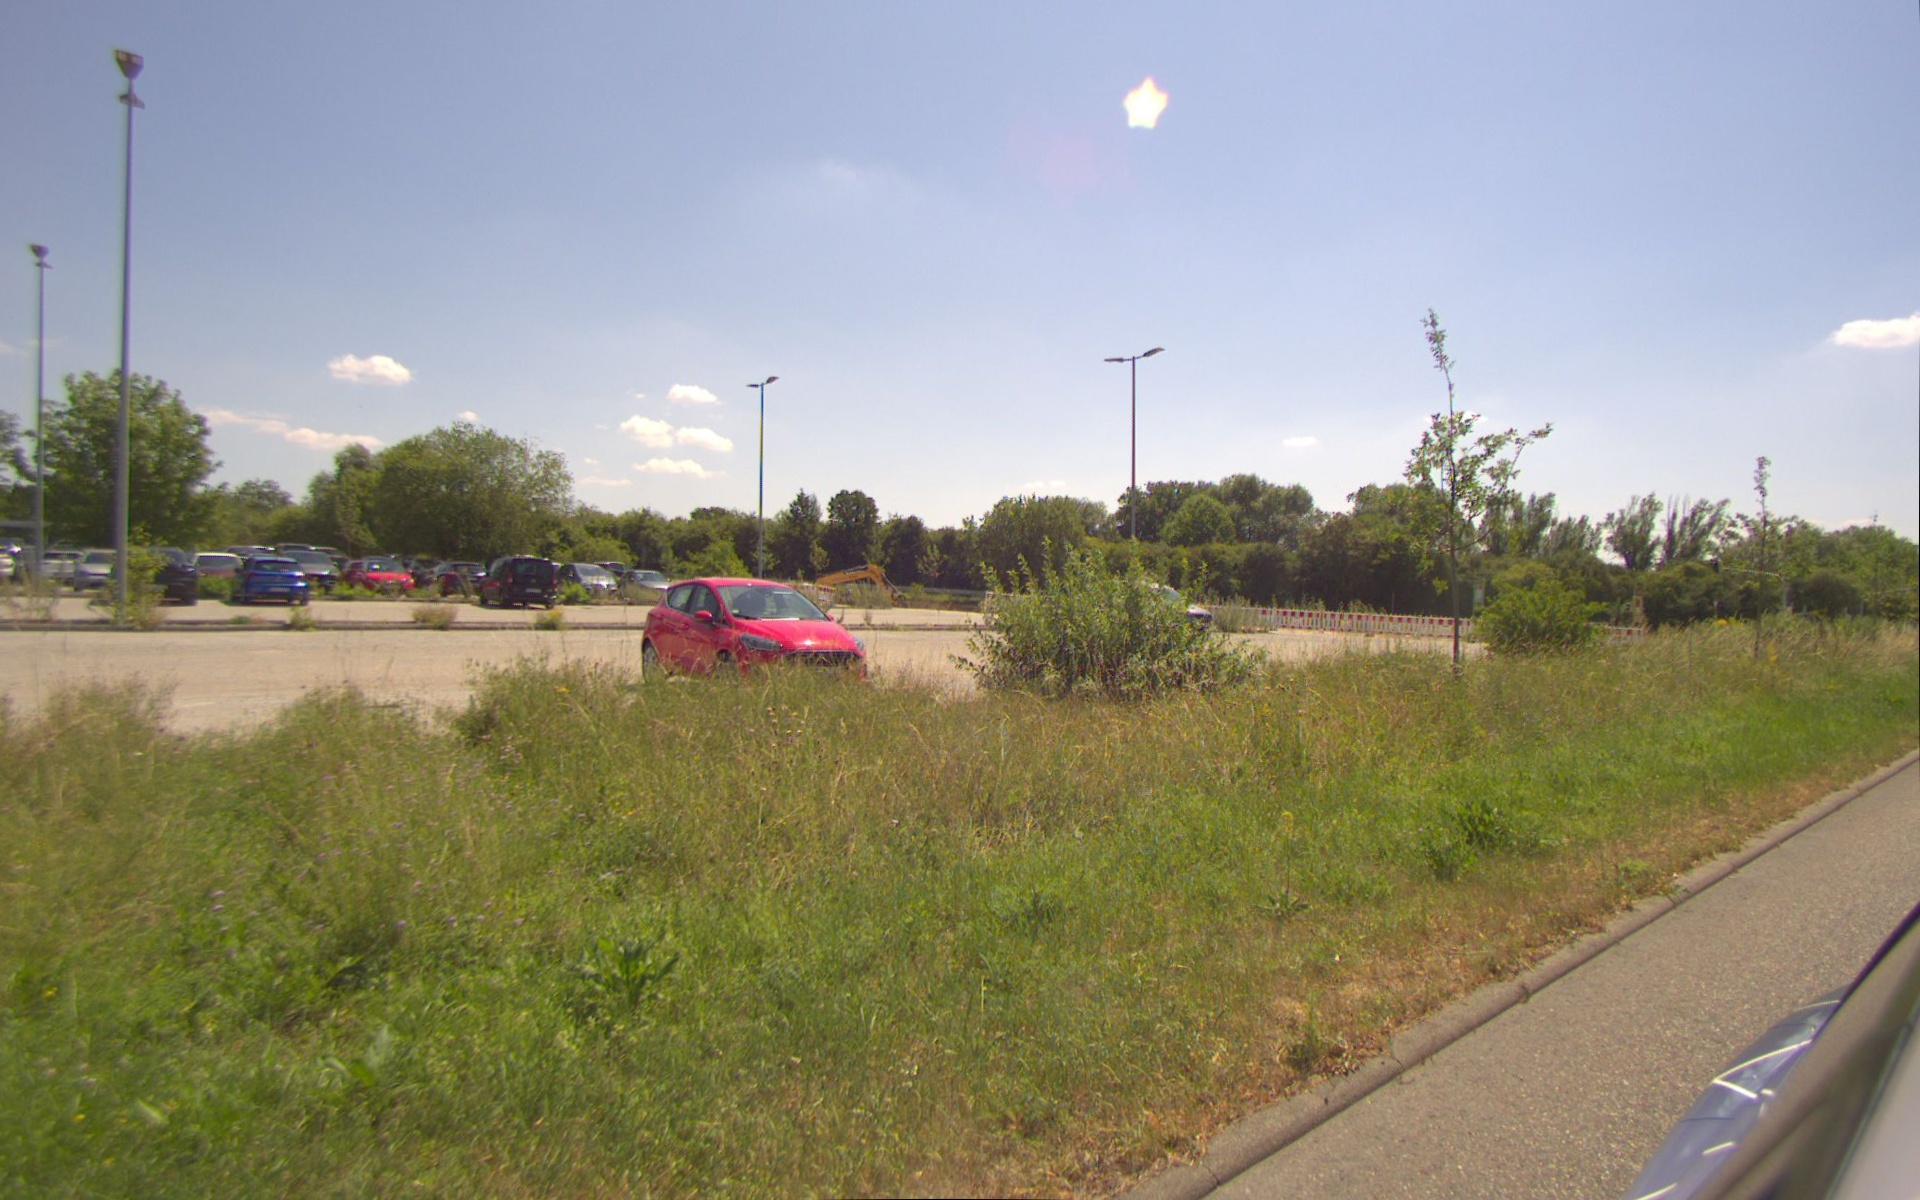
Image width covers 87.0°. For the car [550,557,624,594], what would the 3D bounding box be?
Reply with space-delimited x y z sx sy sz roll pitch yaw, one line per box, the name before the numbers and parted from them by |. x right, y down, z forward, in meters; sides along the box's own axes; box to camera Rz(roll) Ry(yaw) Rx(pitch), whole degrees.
car | -20.503 -1.355 55.519 3.982 1.660 1.971 4 0 39

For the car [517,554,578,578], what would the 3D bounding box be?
car | -28.651 -2.371 70.451 1.851 1.548 3.978 2 1 17

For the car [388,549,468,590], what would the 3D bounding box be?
car | -26.079 -1.500 49.575 3.982 1.660 1.971 4 0 39

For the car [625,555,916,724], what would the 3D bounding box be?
car | -2.519 0.349 12.694 1.892 1.745 3.997 0 2 -39

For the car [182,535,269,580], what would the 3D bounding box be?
car | -31.616 -1.845 43.546 3.982 1.660 1.971 4 0 39

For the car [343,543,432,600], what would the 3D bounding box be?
car | -21.902 -1.120 38.657 1.966 1.905 3.992 5 0 -43

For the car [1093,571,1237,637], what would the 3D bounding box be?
car | 6.816 0.098 34.029 1.905 1.938 4.472 3 1 -41

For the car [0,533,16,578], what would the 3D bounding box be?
car | -38.304 -1.849 39.163 3.982 1.660 1.971 4 0 39

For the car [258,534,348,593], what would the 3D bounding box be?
car | -24.142 -1.369 37.139 1.966 1.905 3.992 5 0 -43

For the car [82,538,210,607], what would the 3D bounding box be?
car | -23.295 -0.803 28.909 3.982 1.660 1.971 4 0 39

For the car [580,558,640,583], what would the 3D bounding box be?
car | -23.492 -1.950 68.039 1.851 1.548 3.978 2 1 17

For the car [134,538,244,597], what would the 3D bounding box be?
car | -25.827 -1.088 33.858 3.982 1.660 1.971 4 0 39

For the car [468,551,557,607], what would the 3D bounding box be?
car | -16.047 -0.787 36.196 1.727 1.779 3.994 2 1 -42

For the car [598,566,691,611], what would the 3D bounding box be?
car | -13.942 -0.508 44.672 3.982 1.660 1.971 4 0 39

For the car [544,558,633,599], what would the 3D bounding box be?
car | -15.950 -0.948 43.361 3.982 1.438 1.696 4 0 39

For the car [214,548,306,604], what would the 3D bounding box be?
car | -21.681 -0.767 31.315 1.704 1.482 3.801 5 0 -43

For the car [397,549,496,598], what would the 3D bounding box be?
car | -20.438 -1.063 40.228 3.982 1.660 1.971 4 0 39

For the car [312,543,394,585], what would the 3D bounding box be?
car | -28.454 -1.704 47.378 3.982 1.660 1.971 4 0 39

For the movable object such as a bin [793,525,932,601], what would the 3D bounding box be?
movable object such as a bin | -6.147 -2.307 64.014 7.993 4.095 2.972 5 -1 16
